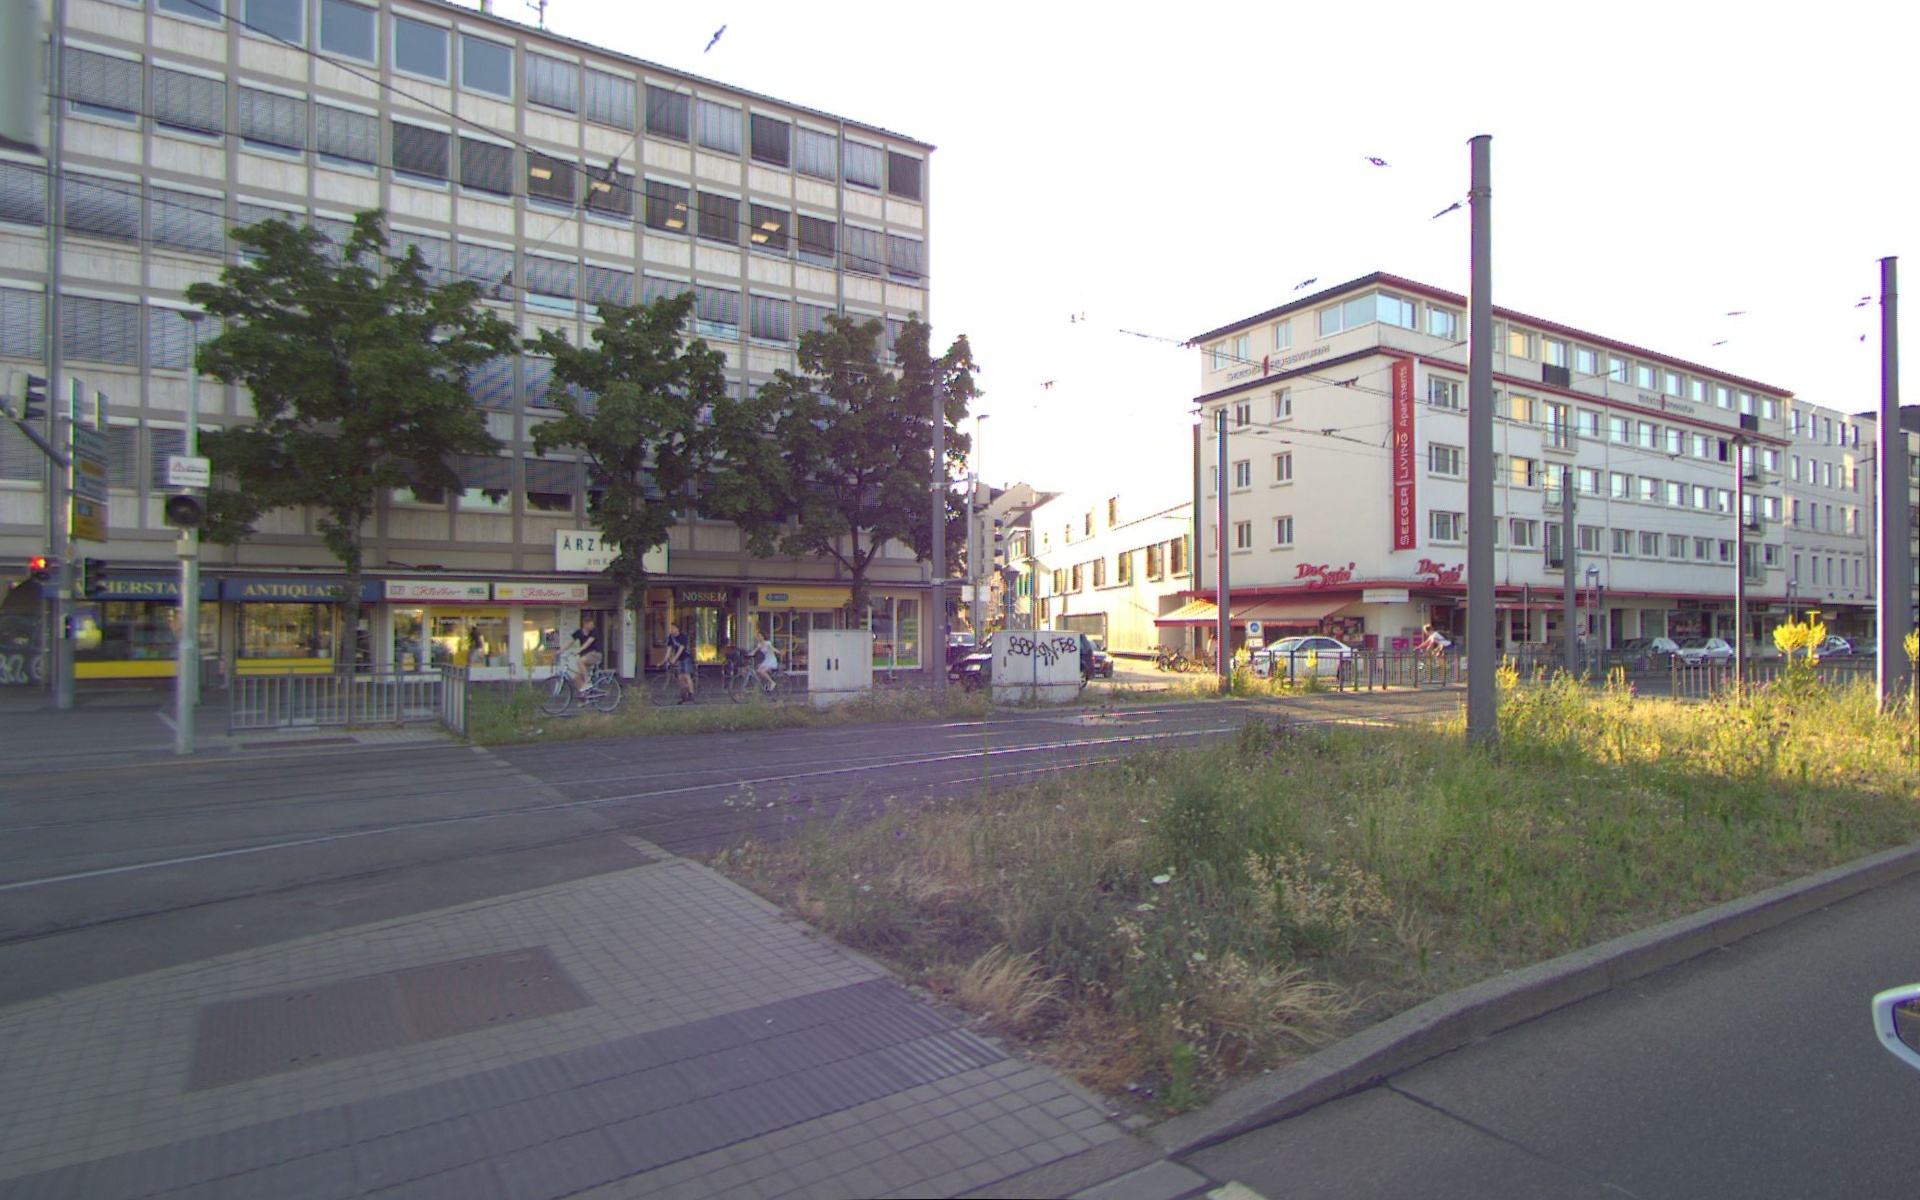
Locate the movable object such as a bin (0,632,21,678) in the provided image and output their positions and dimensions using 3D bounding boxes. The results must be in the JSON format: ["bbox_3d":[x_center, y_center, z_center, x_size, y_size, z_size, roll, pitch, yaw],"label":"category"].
[{"bbox_3d":[-28.891,1.632,29.936,0.948,1.344,1.404,1,-2,-28],"label":"movable object such as a bin"}]

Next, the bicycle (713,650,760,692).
[{"bbox_3d":[-6.613,2.066,29.653,0.661,1.155,1.726,2,-1,-38],"label":"bicycle"}]

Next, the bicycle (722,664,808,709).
[{"bbox_3d":[-4.468,1.968,23.128,0.713,0.942,1.945,-1,-2,40],"label":"bicycle"}]

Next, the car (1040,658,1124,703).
[{"bbox_3d":[4.534,2.985,37.899,1.708,1.454,4.361,1,-2,-14],"label":"car"}]

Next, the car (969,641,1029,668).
[{"bbox_3d":[2.358,3.333,62.209,1.863,1.594,4.220,1,-2,-28],"label":"car"}]

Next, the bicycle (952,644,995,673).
[{"bbox_3d":[0.586,2.551,44.100,1.751,1.201,0.553,3,-3,-15],"label":"bicycle"}]

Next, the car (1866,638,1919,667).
[{"bbox_3d":[57.531,3.205,61.409,3.951,1.687,1.985,2,-2,-29],"label":"car"}]

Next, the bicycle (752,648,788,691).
[{"bbox_3d":[-5.680,2.065,29.969,0.532,1.200,1.624,1,-1,-31],"label":"bicycle"}]

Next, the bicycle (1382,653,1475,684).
[{"bbox_3d":[13.778,2.014,29.567,2.376,0.858,0.846,1,-2,-3],"label":"bicycle"}]

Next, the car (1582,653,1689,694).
[{"bbox_3d":[30.022,3.235,44.633,4.780,1.687,1.985,1,-2,-29],"label":"car"}]

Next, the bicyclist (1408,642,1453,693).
[{"bbox_3d":[13.853,1.977,29.573,0.912,1.460,0.835,1,-2,-3],"label":"bicyclist"}]

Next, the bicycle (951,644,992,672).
[{"bbox_3d":[0.514,2.617,45.174,1.689,1.201,0.538,3,-2,-15],"label":"bicycle"}]

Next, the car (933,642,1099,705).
[{"bbox_3d":[1.576,1.973,27.824,4.256,1.594,1.982,2,-2,-33],"label":"car"}]

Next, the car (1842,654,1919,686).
[{"bbox_3d":[52.580,3.985,57.289,4.581,1.687,1.985,2,-1,-29],"label":"car"}]

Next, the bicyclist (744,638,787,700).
[{"bbox_3d":[-4.480,1.569,23.104,0.705,1.387,0.681,-1,-2,39],"label":"bicyclist"}]

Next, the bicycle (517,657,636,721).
[{"bbox_3d":[-7.232,1.650,19.028,0.744,1.090,2.052,-1,-2,34],"label":"bicycle"}]

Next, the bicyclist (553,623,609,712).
[{"bbox_3d":[-7.204,1.263,19.088,0.725,1.633,0.698,-1,-2,33],"label":"bicyclist"}]

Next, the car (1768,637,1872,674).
[{"bbox_3d":[39.115,2.484,45.668,4.225,1.580,2.190,1,-2,-27],"label":"car"}]

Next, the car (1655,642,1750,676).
[{"bbox_3d":[35.001,2.760,47.347,4.347,1.484,1.985,1,-2,-29],"label":"car"}]

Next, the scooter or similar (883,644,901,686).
[{"bbox_3d":[-2.199,2.102,32.737,0.505,1.339,1.281,0,-2,-1],"label":"scooter or similar"}]

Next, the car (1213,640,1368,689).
[{"bbox_3d":[10.673,2.042,32.432,4.595,1.460,2.030,1,-2,-23],"label":"car"}]

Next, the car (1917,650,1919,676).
[{"bbox_3d":[64.736,4.148,65.740,3.951,1.687,1.985,1,-2,-29],"label":"car"}]
